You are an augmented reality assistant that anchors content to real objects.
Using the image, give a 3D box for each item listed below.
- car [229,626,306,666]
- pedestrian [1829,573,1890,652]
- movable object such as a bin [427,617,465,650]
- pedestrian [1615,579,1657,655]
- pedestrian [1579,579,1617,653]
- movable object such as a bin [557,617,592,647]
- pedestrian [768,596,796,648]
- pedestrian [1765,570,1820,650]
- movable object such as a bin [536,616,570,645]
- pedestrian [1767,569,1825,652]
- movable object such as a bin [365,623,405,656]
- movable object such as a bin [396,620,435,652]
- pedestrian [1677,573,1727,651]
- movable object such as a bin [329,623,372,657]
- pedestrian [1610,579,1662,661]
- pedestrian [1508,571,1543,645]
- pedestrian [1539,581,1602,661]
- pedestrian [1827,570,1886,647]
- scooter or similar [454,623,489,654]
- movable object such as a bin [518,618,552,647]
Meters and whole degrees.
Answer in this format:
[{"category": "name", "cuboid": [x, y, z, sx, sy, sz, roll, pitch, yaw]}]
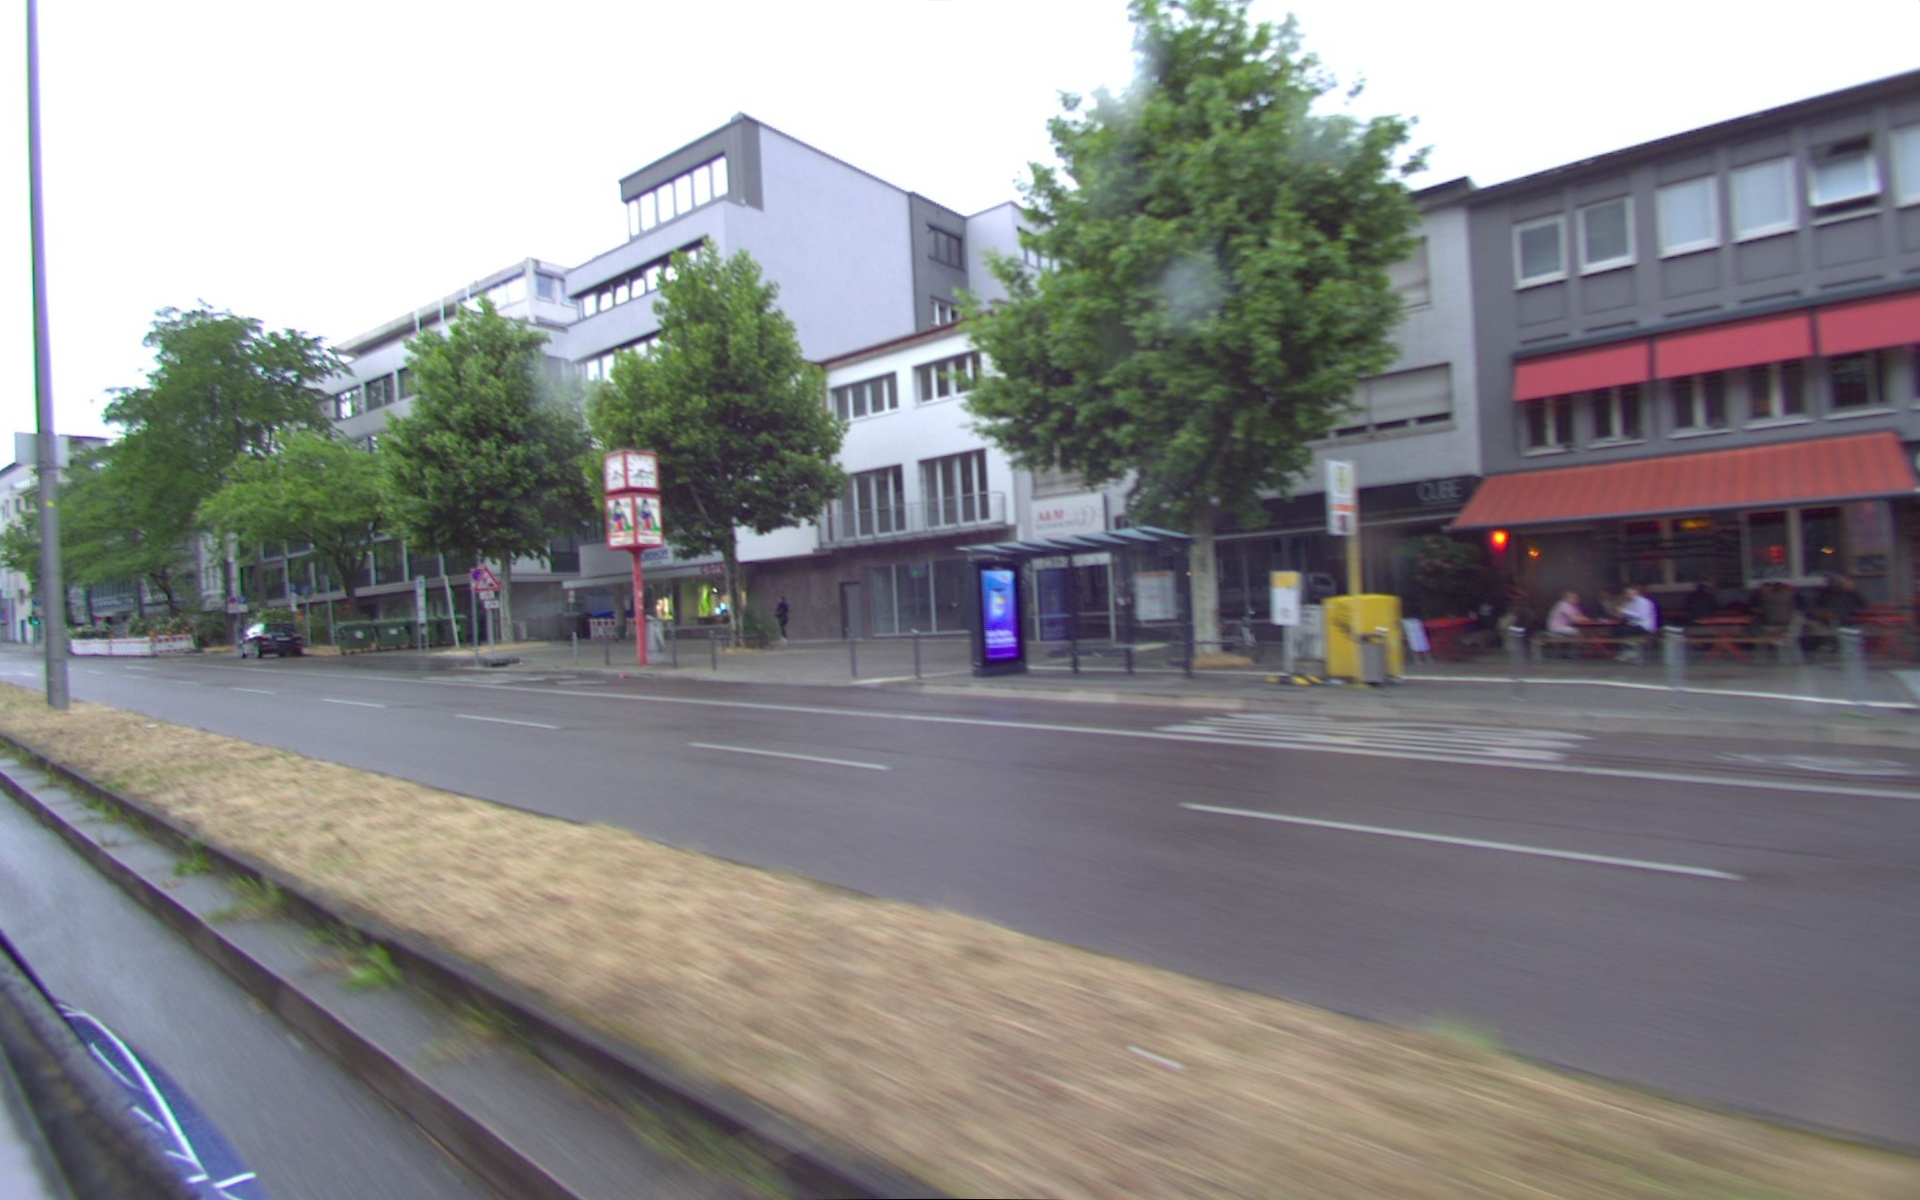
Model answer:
[{"category": "car", "cuboid": [-31.105, 2.050, 45.422, 4.019, 1.648, 1.761, -2, -1, 38]}, {"category": "pedestrian", "cuboid": [15.823, 0.218, 17.819, 0.690, 1.354, 0.627, -2, -1, 34]}, {"category": "movable object such as a bin", "cuboid": [-24.423, 1.598, 48.114, 1.088, 1.499, 1.265, -2, -1, 41]}, {"category": "pedestrian", "cuboid": [13.305, 0.329, 19.919, 0.582, 1.461, 0.683, -2, -1, 38]}, {"category": "pedestrian", "cuboid": [12.836, 0.312, 20.361, 0.546, 1.461, 0.683, -2, -1, 37]}, {"category": "movable object such as a bin", "cuboid": [-19.471, 1.604, 51.072, 1.278, 1.446, 1.077, -2, -1, 32]}, {"category": "pedestrian", "cuboid": [-6.217, 0.759, 35.328, 0.653, 1.776, 0.688, -2, -1, 43]}, {"category": "pedestrian", "cuboid": [15.603, 0.187, 18.992, 0.690, 1.461, 0.627, -2, -1, 34]}, {"category": "movable object such as a bin", "cuboid": [-20.775, 1.560, 51.665, 1.278, 1.446, 1.077, -2, -1, 32]}, {"category": "pedestrian", "cuboid": [15.077, 0.190, 18.270, 0.690, 1.461, 0.627, -2, -1, 34]}, {"category": "movable object such as a bin", "cuboid": [-26.147, 1.777, 46.016, 1.088, 1.437, 1.265, -2, -1, 41]}, {"category": "movable object such as a bin", "cuboid": [-25.312, 1.684, 47.060, 1.088, 1.437, 1.265, -2, -1, 41]}, {"category": "pedestrian", "cuboid": [14.143, 0.228, 19.296, 0.690, 1.461, 0.720, -2, -1, 34]}, {"category": "movable object such as a bin", "cuboid": [-27.059, 1.783, 44.923, 1.088, 1.437, 1.345, -2, -1, 41]}, {"category": "pedestrian", "cuboid": [12.367, 0.369, 18.517, 0.706, 1.461, 0.683, -2, -1, 37]}, {"category": "pedestrian", "cuboid": [12.383, 0.173, 22.163, 0.603, 1.582, 0.591, -2, -1, 31]}, {"category": "pedestrian", "cuboid": [11.537, 0.396, 19.134, 0.912, 1.461, 0.683, -2, -1, 37]}, {"category": "pedestrian", "cuboid": [16.313, 0.162, 18.431, 0.690, 1.366, 0.627, -2, -1, 34]}, {"category": "scooter or similar", "cuboid": [-20.160, 1.586, 41.766, 1.323, 1.130, 0.767, -6, -1, 42]}, {"category": "movable object such as a bin", "cuboid": [-22.061, 1.662, 52.520, 1.278, 1.446, 1.077, -2, -1, 32]}]
